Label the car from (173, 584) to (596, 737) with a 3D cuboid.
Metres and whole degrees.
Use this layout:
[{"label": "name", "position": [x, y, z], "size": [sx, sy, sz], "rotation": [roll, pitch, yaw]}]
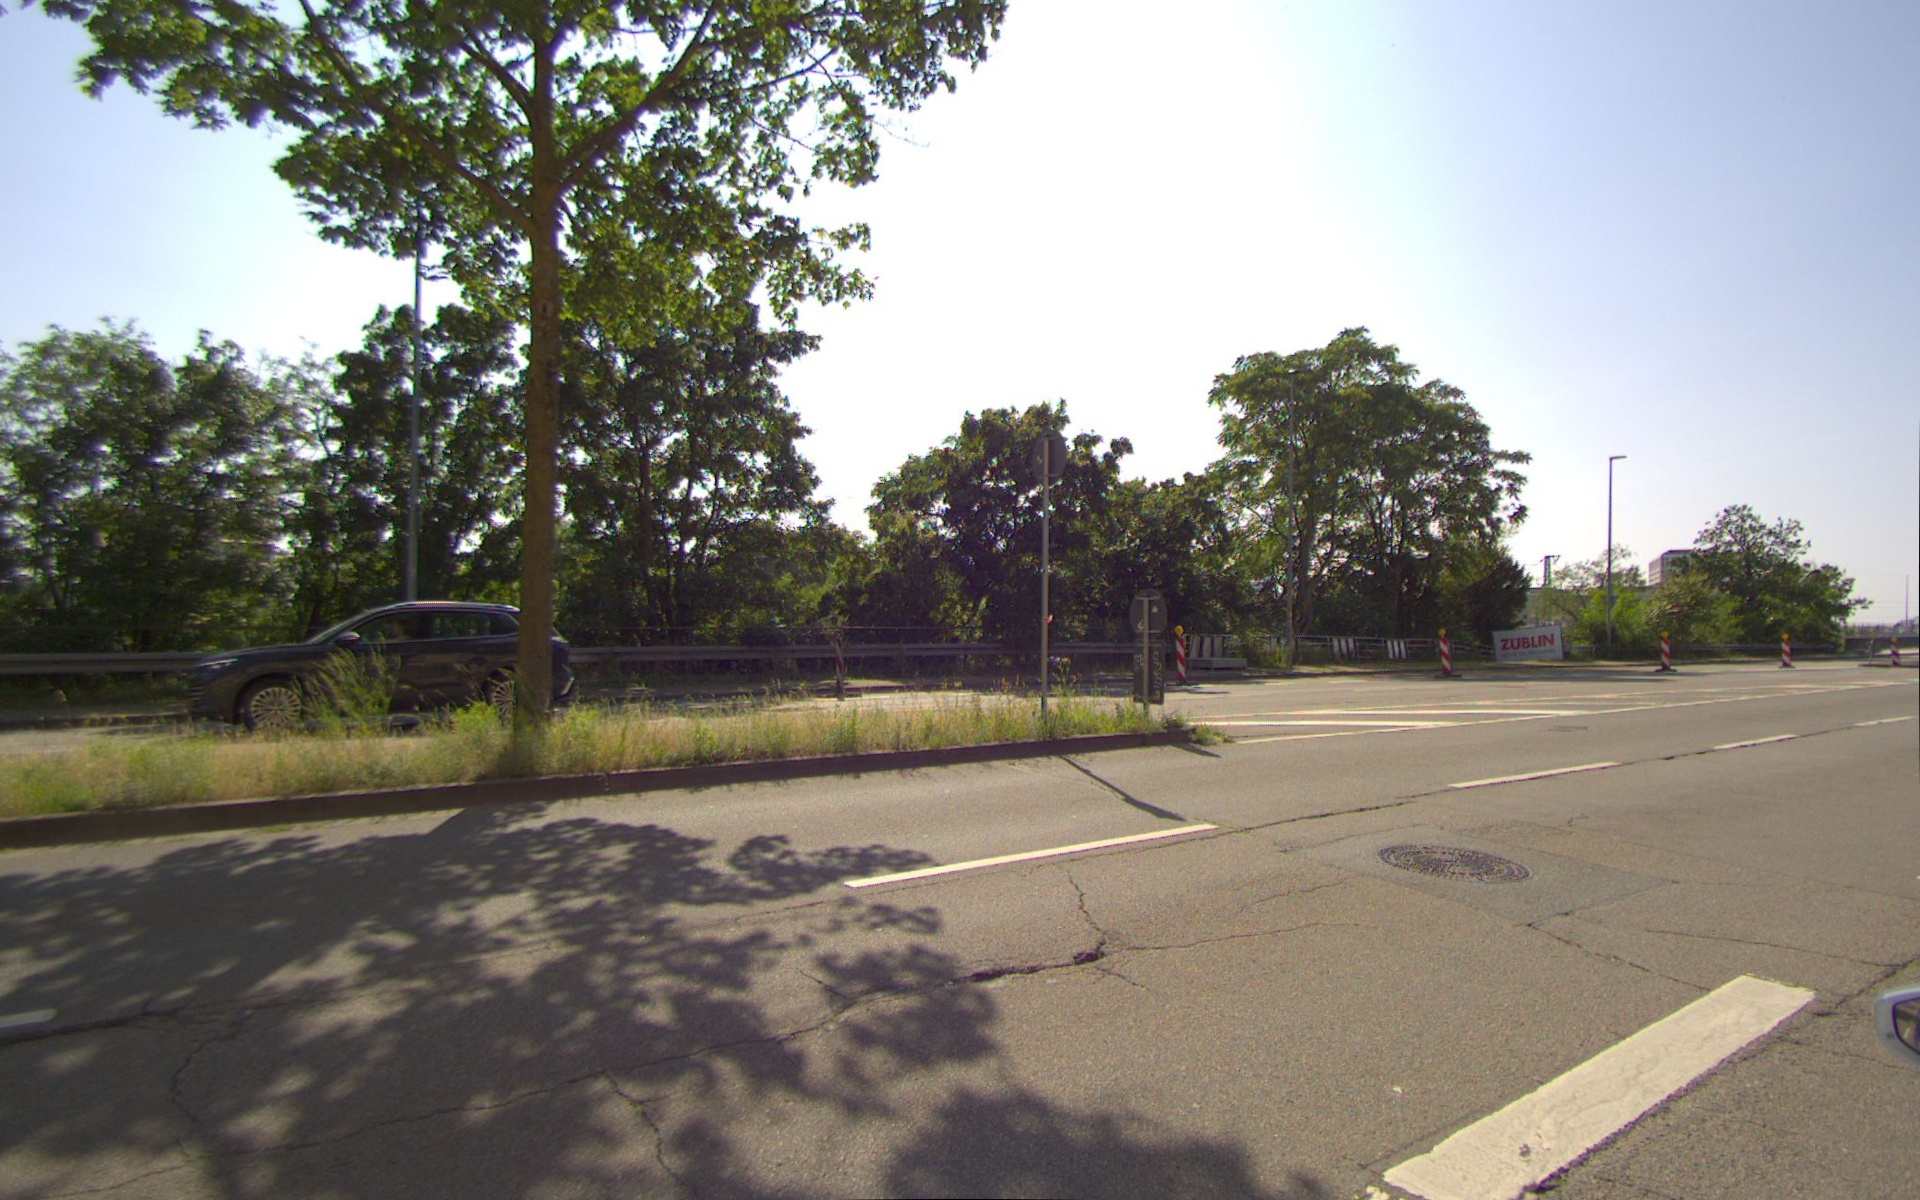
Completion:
[{"label": "car", "position": [-7.624, 0.759, 13.696], "size": [4.680, 1.757, 1.982], "rotation": [2, -1, -34]}]
